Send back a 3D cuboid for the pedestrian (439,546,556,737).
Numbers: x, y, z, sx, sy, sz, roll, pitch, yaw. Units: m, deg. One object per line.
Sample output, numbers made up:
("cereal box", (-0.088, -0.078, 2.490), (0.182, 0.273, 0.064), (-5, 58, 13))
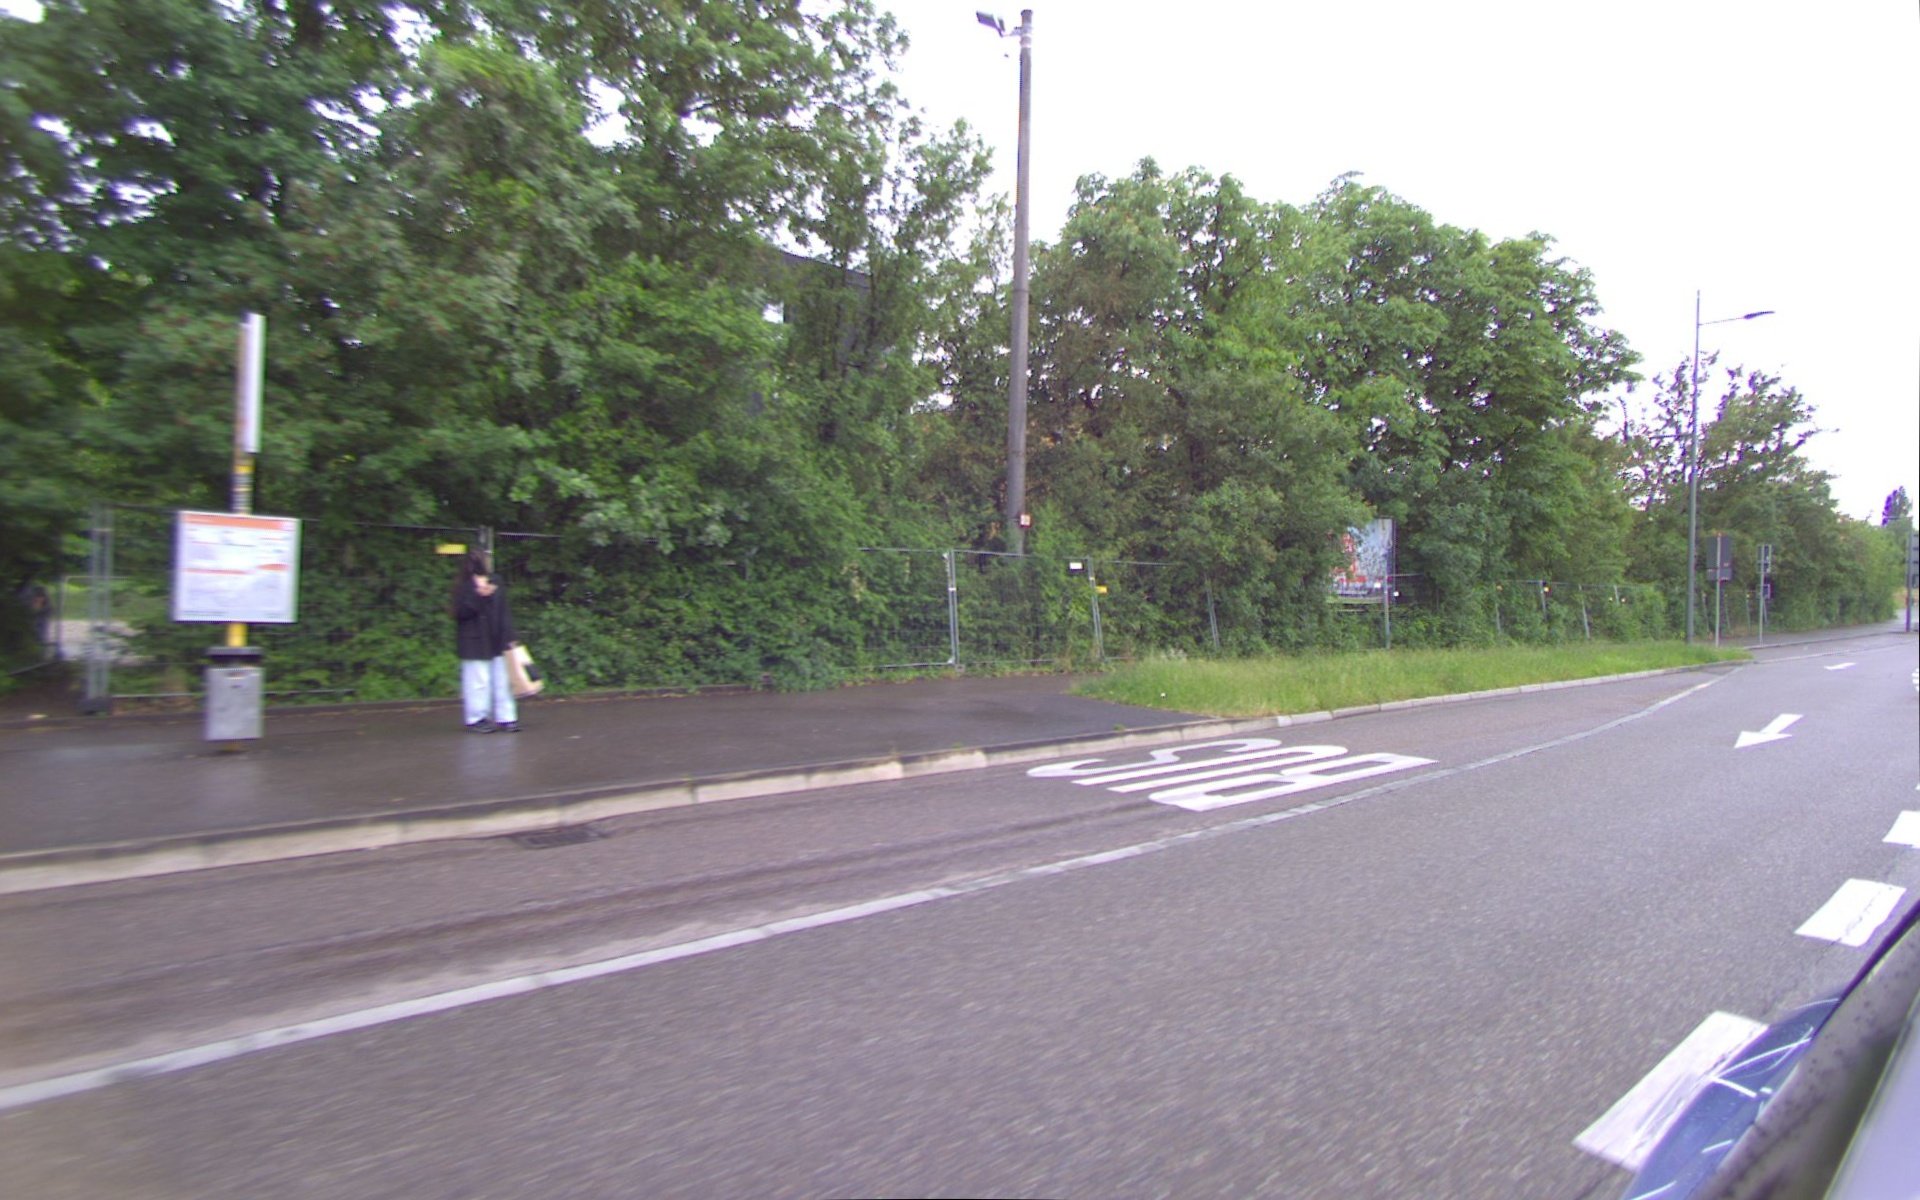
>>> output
("pedestrian", (-4.285, 0.353, 9.374), (0.780, 1.678, 0.676), (1, 1, -45))
